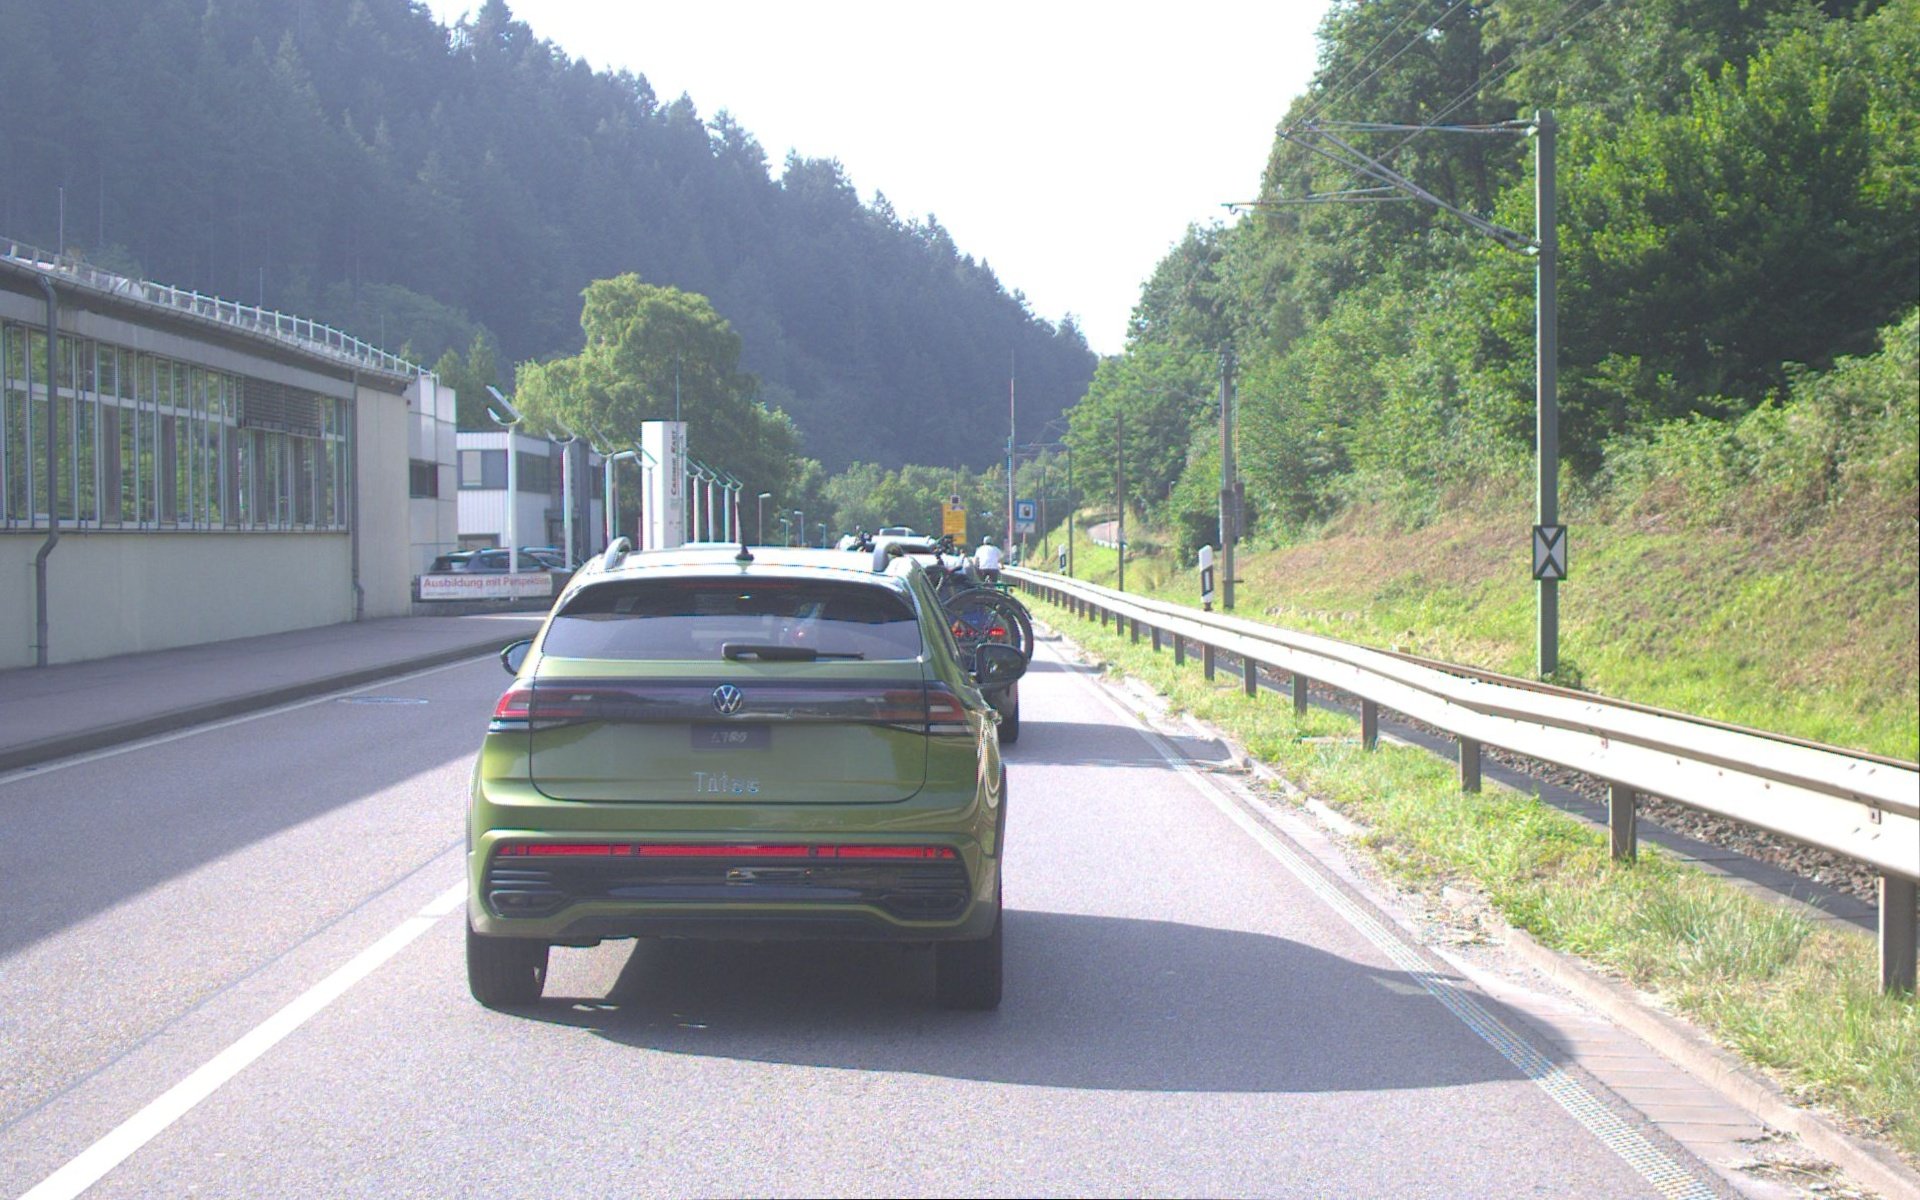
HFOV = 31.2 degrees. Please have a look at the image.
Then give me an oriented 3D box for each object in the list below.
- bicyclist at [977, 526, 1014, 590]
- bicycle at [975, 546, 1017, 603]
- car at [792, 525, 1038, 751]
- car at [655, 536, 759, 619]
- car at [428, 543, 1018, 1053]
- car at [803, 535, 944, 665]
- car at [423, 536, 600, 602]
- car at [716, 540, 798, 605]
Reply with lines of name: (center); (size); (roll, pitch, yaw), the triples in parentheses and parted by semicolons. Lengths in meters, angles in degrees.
bicyclist: (0.782, -0.941, 76.579); (0.781, 1.407, 0.675); (0, 1, -2)
bicycle: (0.798, -0.579, 76.467); (0.811, 1.246, 2.123); (0, 1, -3)
car: (-0.372, 0.234, 26.455); (1.739, 1.596, 4.000); (0, 1, -2)
car: (-4.794, -0.453, 65.581); (1.719, 1.509, 4.199); (1, 1, -1)
car: (-0.754, 0.552, 12.160); (1.739, 1.503, 4.000); (0, 1, -2)
car: (-1.121, -0.036, 44.508); (1.739, 1.596, 4.000); (0, 1, -2)
car: (-11.161, -0.789, 85.747); (1.887, 1.586, 4.165); (1, 1, 41)
car: (-4.895, -0.690, 83.425); (1.773, 1.485, 4.052); (1, 1, -1)
